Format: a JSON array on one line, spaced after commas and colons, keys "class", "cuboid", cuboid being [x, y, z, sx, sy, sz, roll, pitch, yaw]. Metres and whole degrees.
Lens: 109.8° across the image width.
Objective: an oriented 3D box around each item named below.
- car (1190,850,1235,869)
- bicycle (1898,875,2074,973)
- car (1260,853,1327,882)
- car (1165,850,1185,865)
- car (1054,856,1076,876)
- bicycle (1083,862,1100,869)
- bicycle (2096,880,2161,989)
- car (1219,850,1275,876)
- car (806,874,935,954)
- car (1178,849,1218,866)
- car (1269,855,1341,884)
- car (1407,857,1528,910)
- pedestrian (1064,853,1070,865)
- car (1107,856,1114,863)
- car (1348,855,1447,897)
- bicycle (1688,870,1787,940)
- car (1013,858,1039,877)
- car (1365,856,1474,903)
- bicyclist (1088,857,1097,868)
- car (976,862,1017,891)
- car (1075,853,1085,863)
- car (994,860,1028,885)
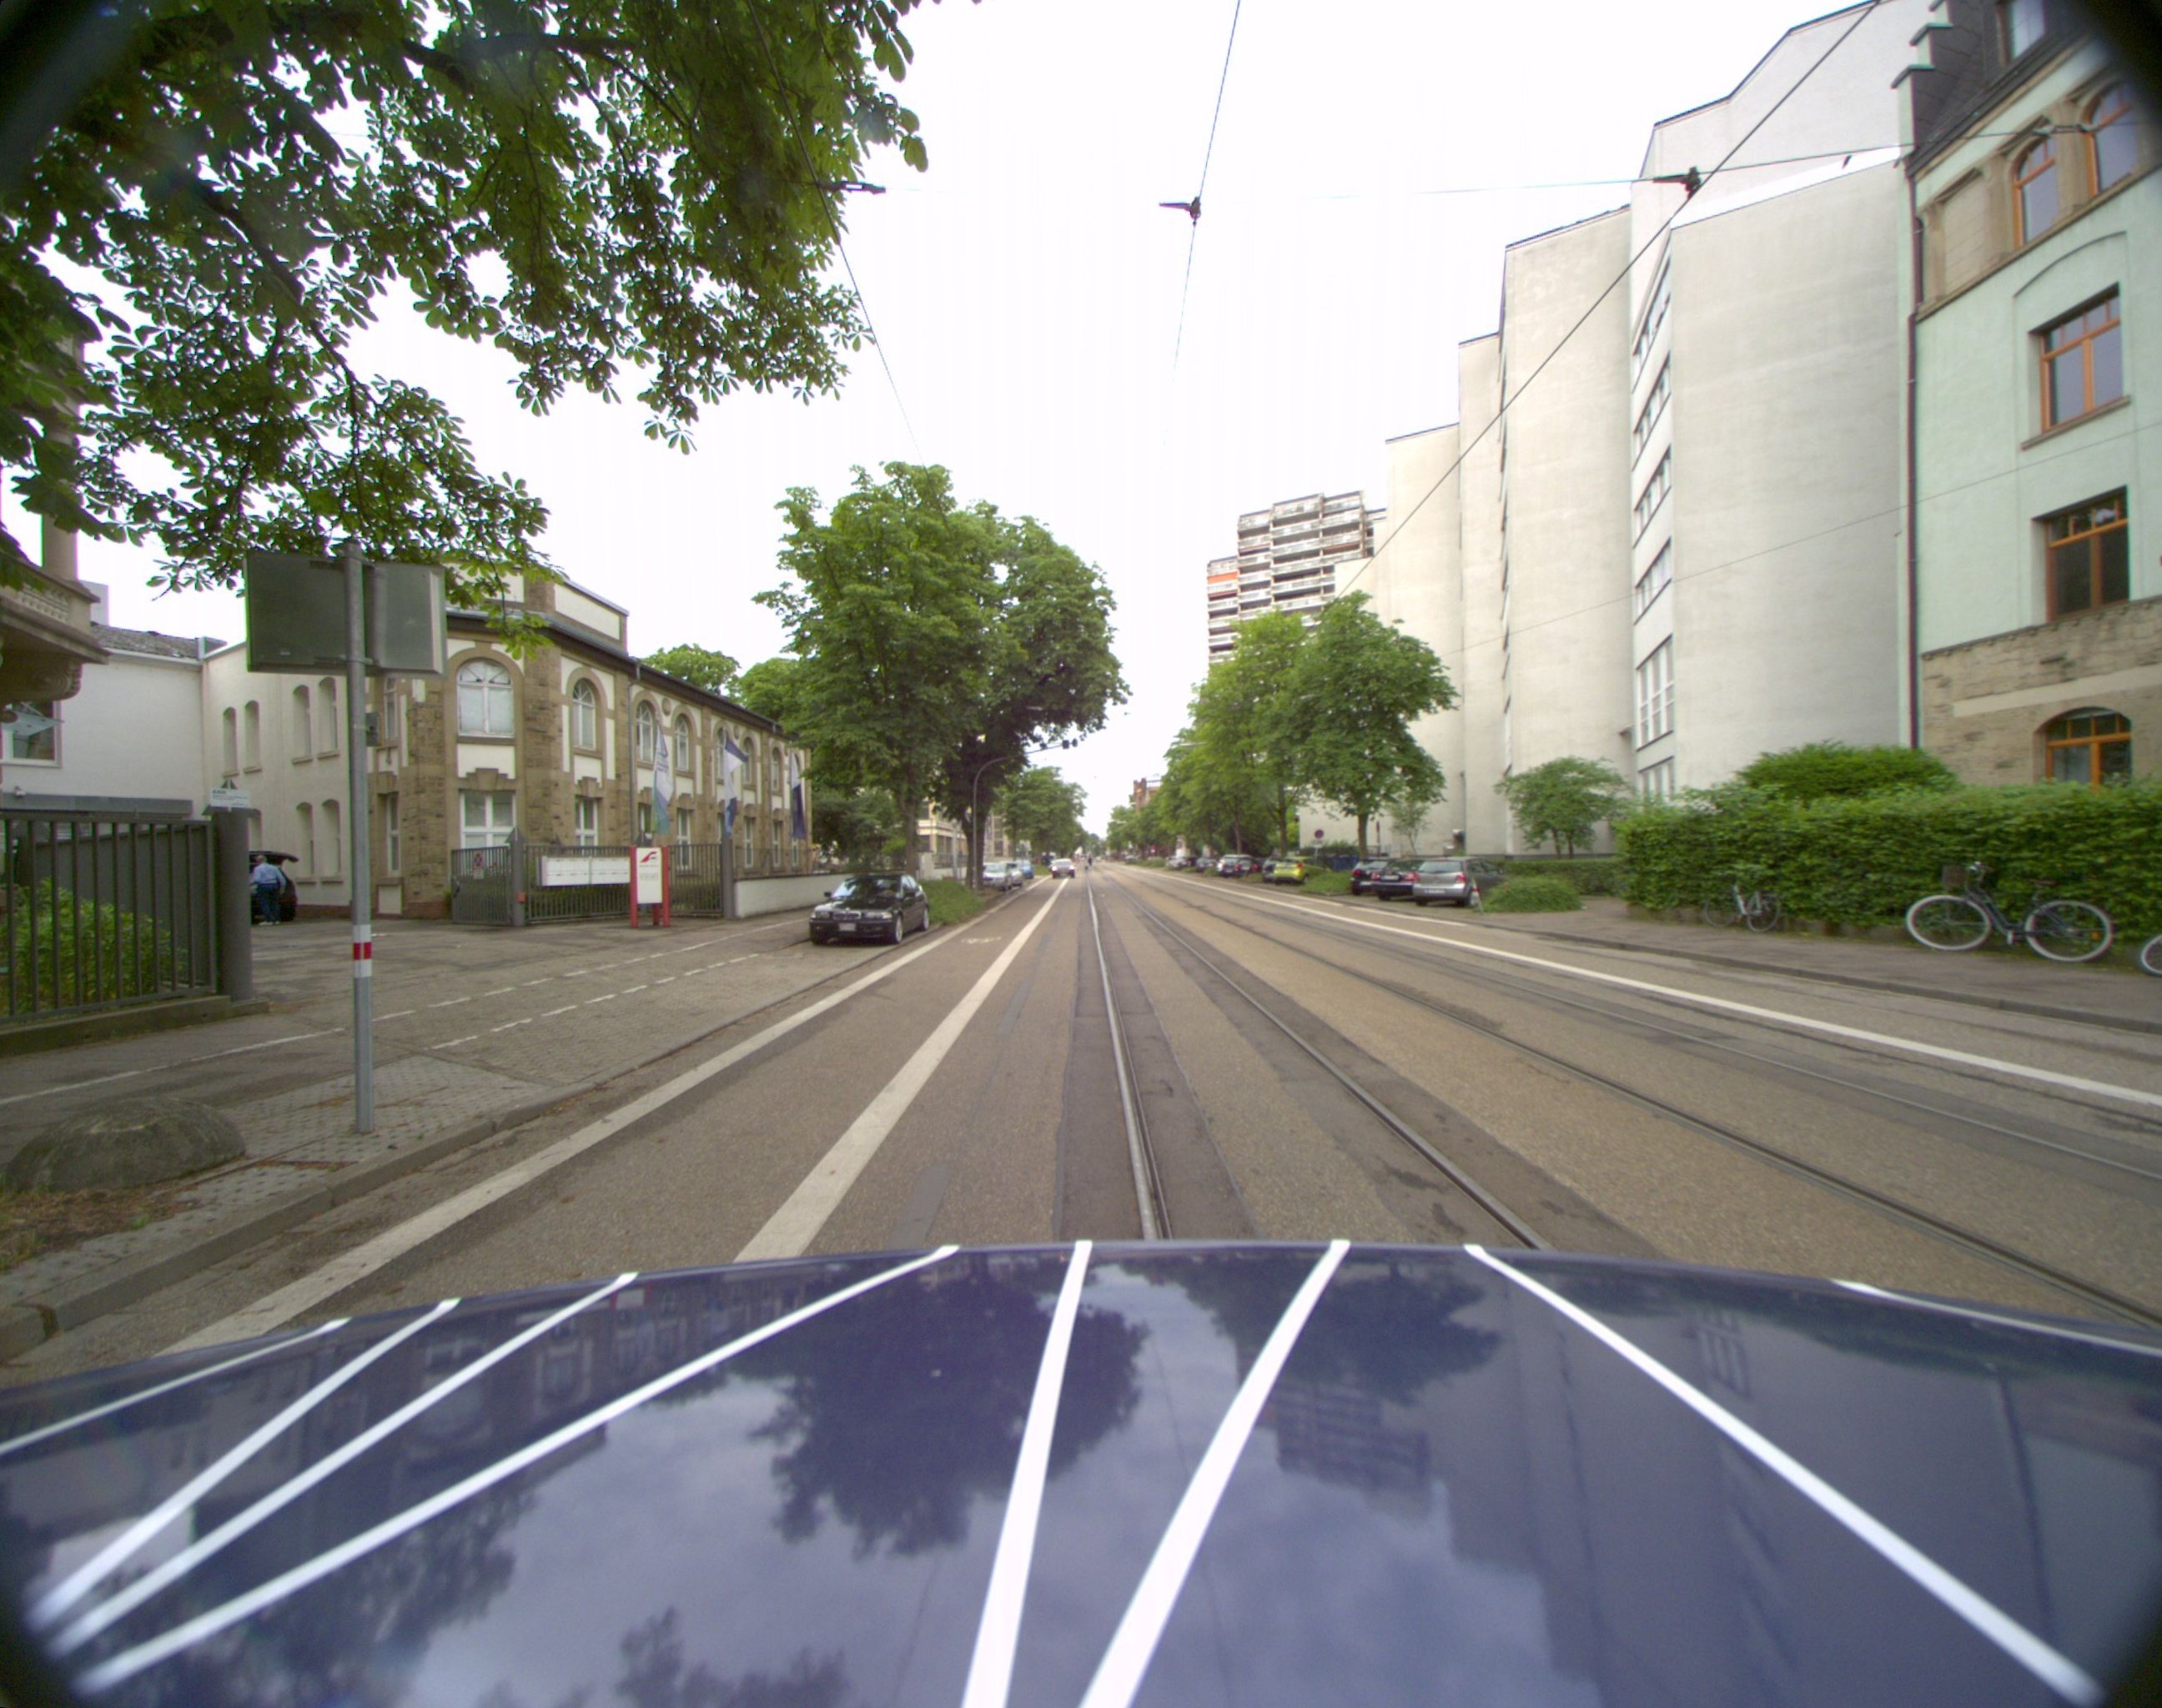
[{"class": "car", "cuboid": [11.361, 0.449, 65.416, 4.008, 1.611, 1.690, -1, 0, -43]}, {"class": "bicycle", "cuboid": [11.161, 0.818, 9.449, 0.360, 1.077, 1.546, -1, 0, 1]}, {"class": "car", "cuboid": [11.718, 0.711, 41.747, 4.008, 1.434, 1.690, -1, 0, -43]}, {"class": "car", "cuboid": [10.522, 0.433, 85.024, 1.694, 1.611, 3.999, -1, 0, -1]}, {"class": "car", "cuboid": [-1.260, 0.866, 58.495, 1.606, 1.427, 3.775, -3, 0, -3]}, {"class": "bicycle", "cuboid": [1.190, 1.295, 87.589, 1.890, 0.784, 0.568, -1, 0, -7]}, {"class": "bicycle", "cuboid": [11.057, 0.821, 7.369, 0.360, 1.077, 1.546, -1, 0, 1]}, {"class": "car", "cuboid": [11.251, 0.592, 51.475, 4.008, 1.611, 1.690, -1, 0, -43]}, {"class": "car", "cuboid": [-4.320, 1.178, 16.149, 1.606, 1.362, 3.837, 1, 0, 1]}, {"class": "car", "cuboid": [11.534, 0.354, 74.719, 4.008, 1.611, 1.690, -1, 0, -43]}, {"class": "car", "cuboid": [11.467, 0.755, 38.699, 4.008, 1.387, 1.690, -1, 0, -43]}, {"class": "car", "cuboid": [11.500, 0.811, 22.521, 4.008, 1.395, 1.691, -1, 0, -39]}, {"class": "pedestrian", "cuboid": [-1.708, 0.607, 94.871, 0.684, 1.541, 0.704, -1, 1, 1]}, {"class": "car", "cuboid": [9.196, 1.650, 238.520, 1.906, 2.002, 3.999, -2, 1, 1]}, {"class": "car", "cuboid": [11.895, 0.777, 28.464, 4.008, 1.395, 1.691, -1, 0, -39]}, {"class": "bicycle", "cuboid": [11.179, 0.836, 12.990, 0.360, 1.077, 1.546, -1, 0, 1]}, {"class": "car", "cuboid": [-4.200, 1.009, 58.376, 1.606, 1.362, 3.837, 1, 0, 1]}, {"class": "car", "cuboid": [11.333, 0.806, 25.360, 4.008, 1.395, 1.691, -1, 0, -39]}, {"class": "bicyclist", "cuboid": [1.339, 0.936, 87.582, 0.875, 1.247, 0.752, -1, 1, -6]}, {"class": "car", "cuboid": [-4.255, 1.107, 38.723, 1.606, 1.362, 3.837, 1, 0, 1]}, {"class": "car", "cuboid": [-0.163, 0.692, 129.525, 1.723, 1.691, 3.372, -1, 0, 1]}, {"class": "car", "cuboid": [-4.176, 1.071, 45.862, 1.606, 1.416, 3.837, 1, 0, 1]}]
